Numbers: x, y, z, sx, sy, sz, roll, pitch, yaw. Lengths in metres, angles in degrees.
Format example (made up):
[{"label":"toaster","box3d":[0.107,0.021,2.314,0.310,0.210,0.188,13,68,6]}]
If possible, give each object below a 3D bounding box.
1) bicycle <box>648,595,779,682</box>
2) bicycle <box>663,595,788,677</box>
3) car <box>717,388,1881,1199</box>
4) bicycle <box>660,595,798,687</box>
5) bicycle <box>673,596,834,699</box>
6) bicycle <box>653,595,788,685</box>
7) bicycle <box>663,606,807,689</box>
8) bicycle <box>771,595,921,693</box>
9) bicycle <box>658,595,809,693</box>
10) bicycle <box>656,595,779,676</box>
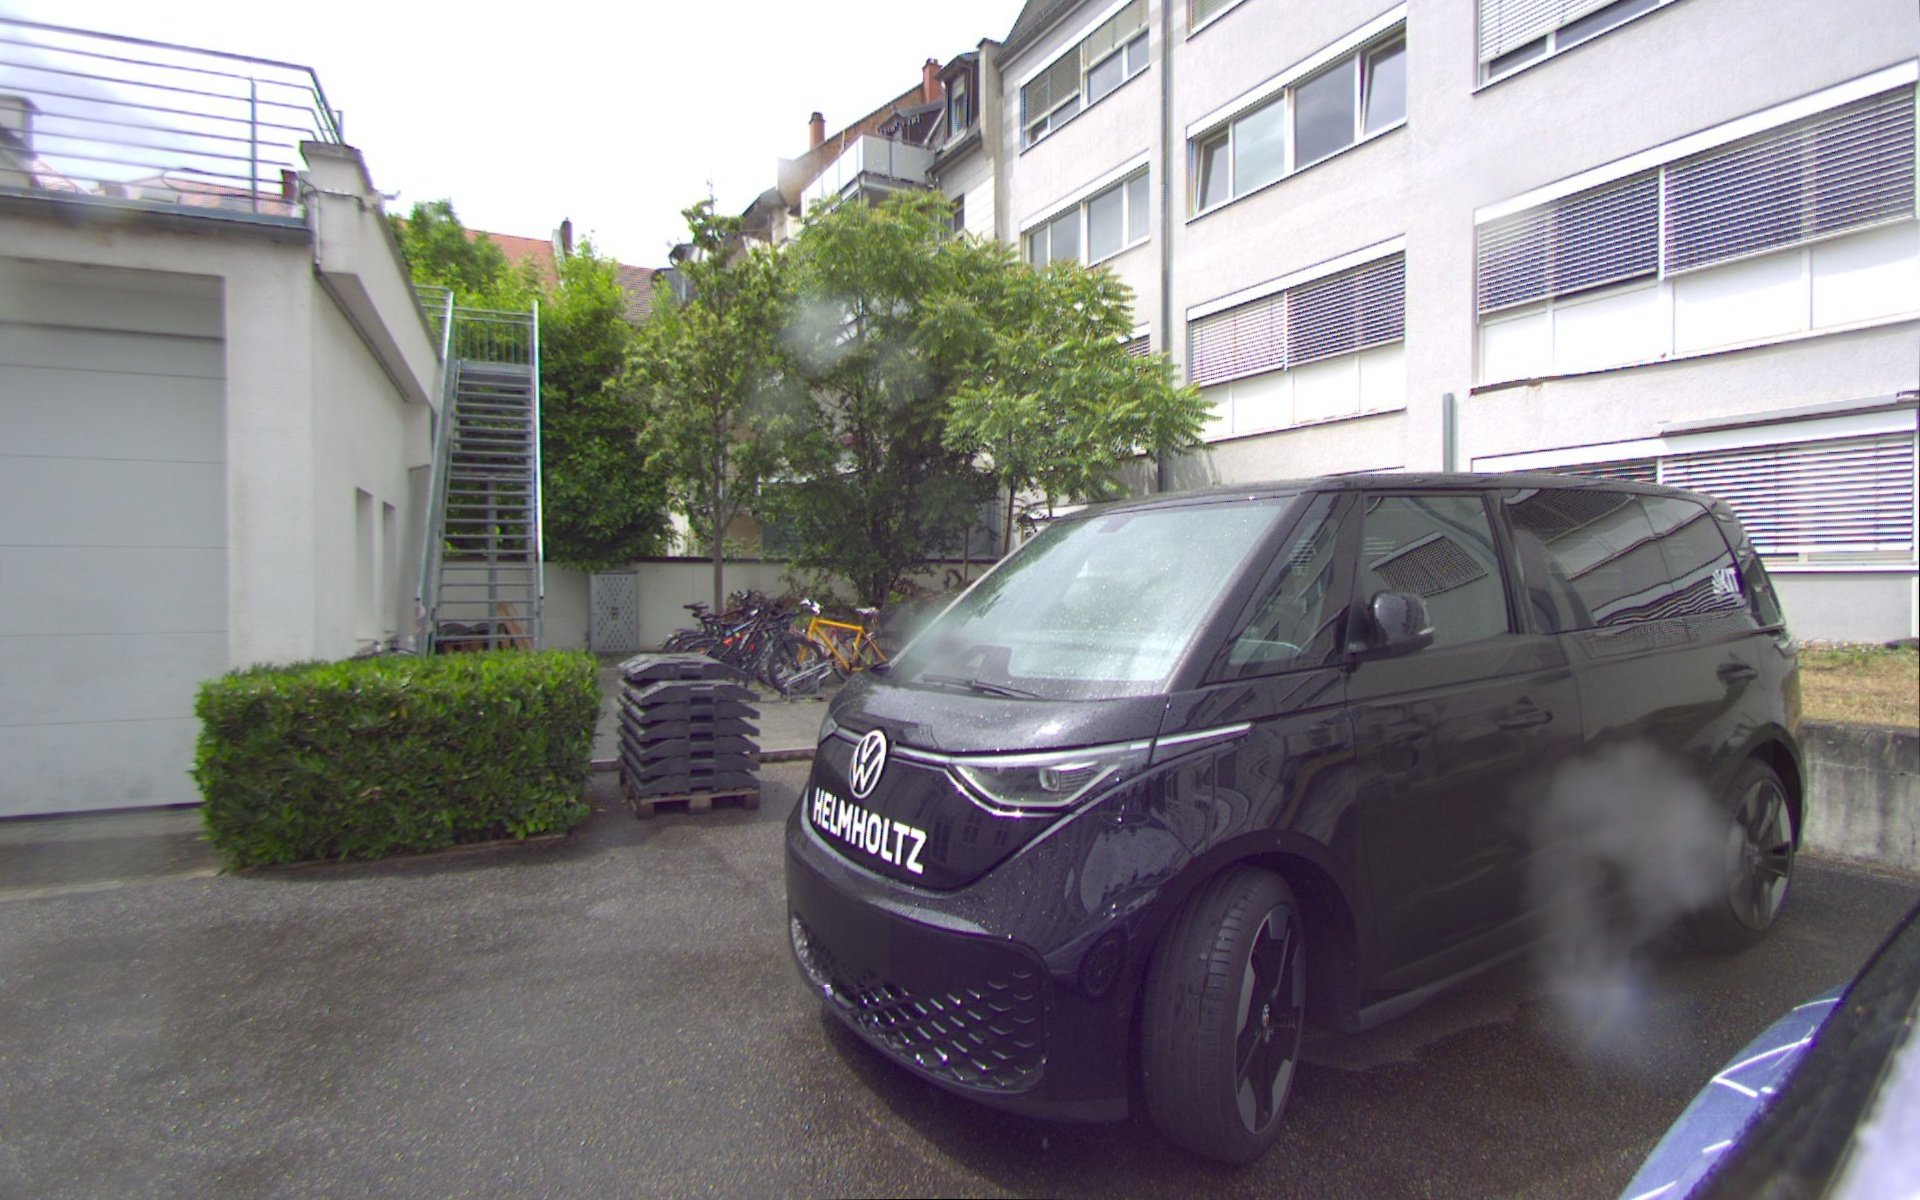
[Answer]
[{"label":"bicycle","box3d":[-3.362,0.500,13.889,1.720,1.117,0.346,-1,1,-30]},{"label":"bicycle","box3d":[-3.341,0.492,14.496,1.720,1.117,0.355,-1,1,-30]},{"label":"car","box3d":[1.599,0.418,4.163,4.654,1.888,1.972,-2,1,-31]},{"label":"bicycle","box3d":[-2.979,0.506,13.129,1.720,1.117,0.333,-1,1,-30]},{"label":"bicycle","box3d":[-2.361,0.518,11.622,1.759,1.117,0.406,0,1,-22]},{"label":"bicycle","box3d":[-3.157,0.505,13.435,1.720,1.117,0.343,-1,1,-30]},{"label":"bicycle","box3d":[-2.833,0.578,12.818,1.760,0.979,0.330,-1,1,-30]},{"label":"bicycle","box3d":[-1.360,0.509,12.183,1.759,1.117,0.368,0,1,-22]},{"label":"bicycle","box3d":[-2.737,0.514,12.303,1.759,1.117,0.355,0,1,-22]},{"label":"bicycle","box3d":[-3.529,0.490,14.814,1.720,1.117,0.342,-1,1,-30]}]
